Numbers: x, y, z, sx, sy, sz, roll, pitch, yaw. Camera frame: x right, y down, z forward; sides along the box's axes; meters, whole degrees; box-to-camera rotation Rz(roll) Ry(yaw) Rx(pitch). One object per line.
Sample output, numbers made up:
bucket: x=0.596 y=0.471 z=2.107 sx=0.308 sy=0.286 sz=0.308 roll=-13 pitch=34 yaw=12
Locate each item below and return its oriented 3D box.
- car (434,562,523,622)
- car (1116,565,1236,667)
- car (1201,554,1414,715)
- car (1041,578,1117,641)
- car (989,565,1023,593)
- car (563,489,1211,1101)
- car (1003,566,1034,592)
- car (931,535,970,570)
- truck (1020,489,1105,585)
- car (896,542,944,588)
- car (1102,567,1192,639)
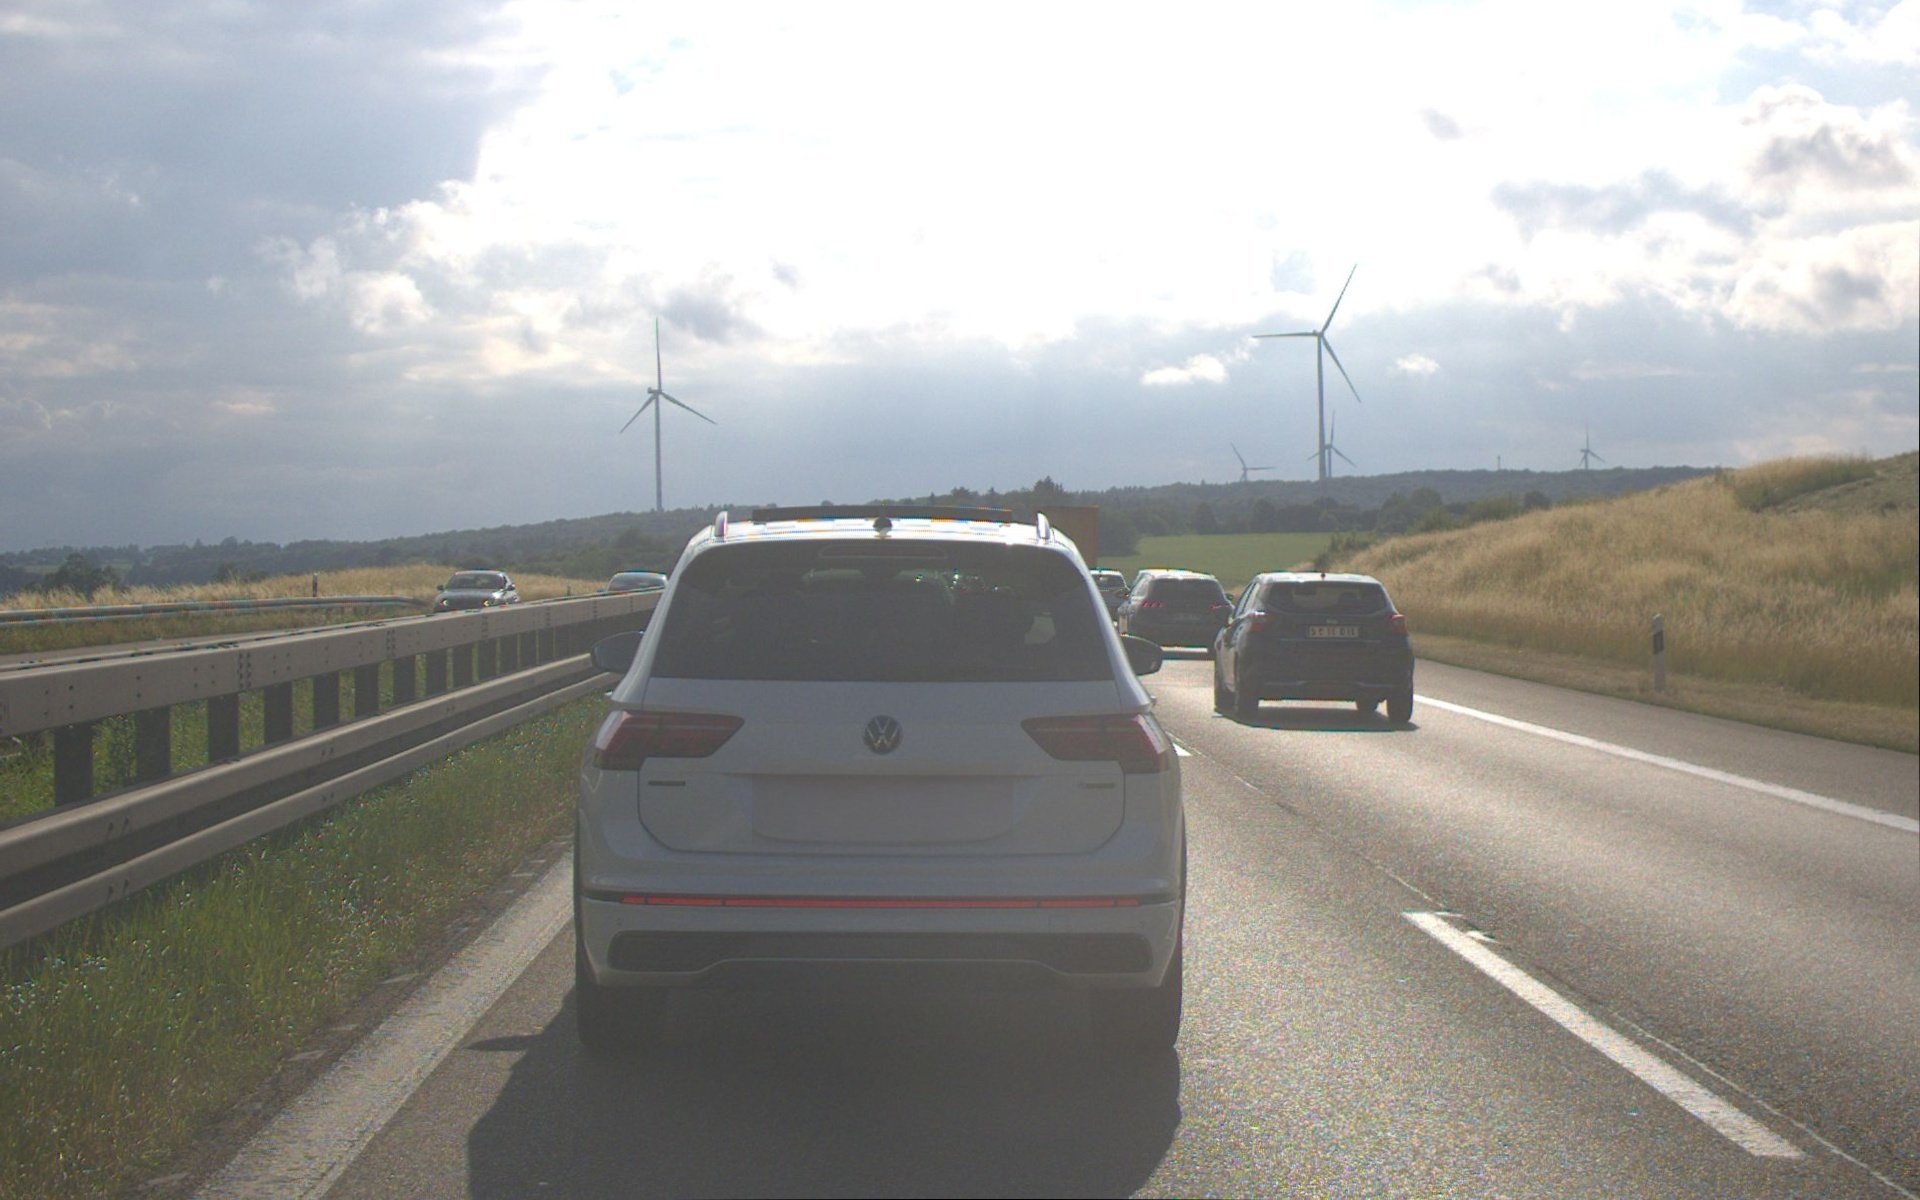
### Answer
car: x=-12.224 y=-0.216 z=87.441 sx=1.749 sy=1.474 sz=4.480 roll=1 pitch=0 yaw=-2
car: x=3.636 y=0.253 z=58.322 sx=1.704 sy=1.644 sz=4.000 roll=1 pitch=0 yaw=-1
car: x=3.503 y=0.322 z=35.287 sx=1.704 sy=1.540 sz=4.000 roll=1 pitch=0 yaw=-1
car: x=2.991 y=0.216 z=87.164 sx=1.704 sy=1.540 sz=4.000 roll=1 pitch=0 yaw=-1
car: x=2.532 y=-1.172 z=190.233 sx=1.704 sy=1.540 sz=4.000 roll=1 pitch=0 yaw=-1
car: x=-0.232 y=0.529 z=11.499 sx=1.770 sy=1.670 sz=4.000 roll=1 pitch=0 yaw=-1
car: x=3.594 y=-1.282 z=211.659 sx=1.704 sy=1.540 sz=4.000 roll=1 pitch=0 yaw=-1
car: x=-0.429 y=-2.155 z=156.992 sx=1.704 sy=1.540 sz=4.000 roll=1 pitch=0 yaw=-1
truck: x=3.999 y=-2.488 z=136.305 sx=3.184 sy=3.581 sz=11.130 roll=1 pitch=1 yaw=1
car: x=-1.485 y=-1.277 z=127.101 sx=1.704 sy=1.644 sz=4.000 roll=1 pitch=0 yaw=-1
car: x=4.140 y=0.049 z=76.448 sx=1.704 sy=1.540 sz=4.000 roll=1 pitch=0 yaw=-1
